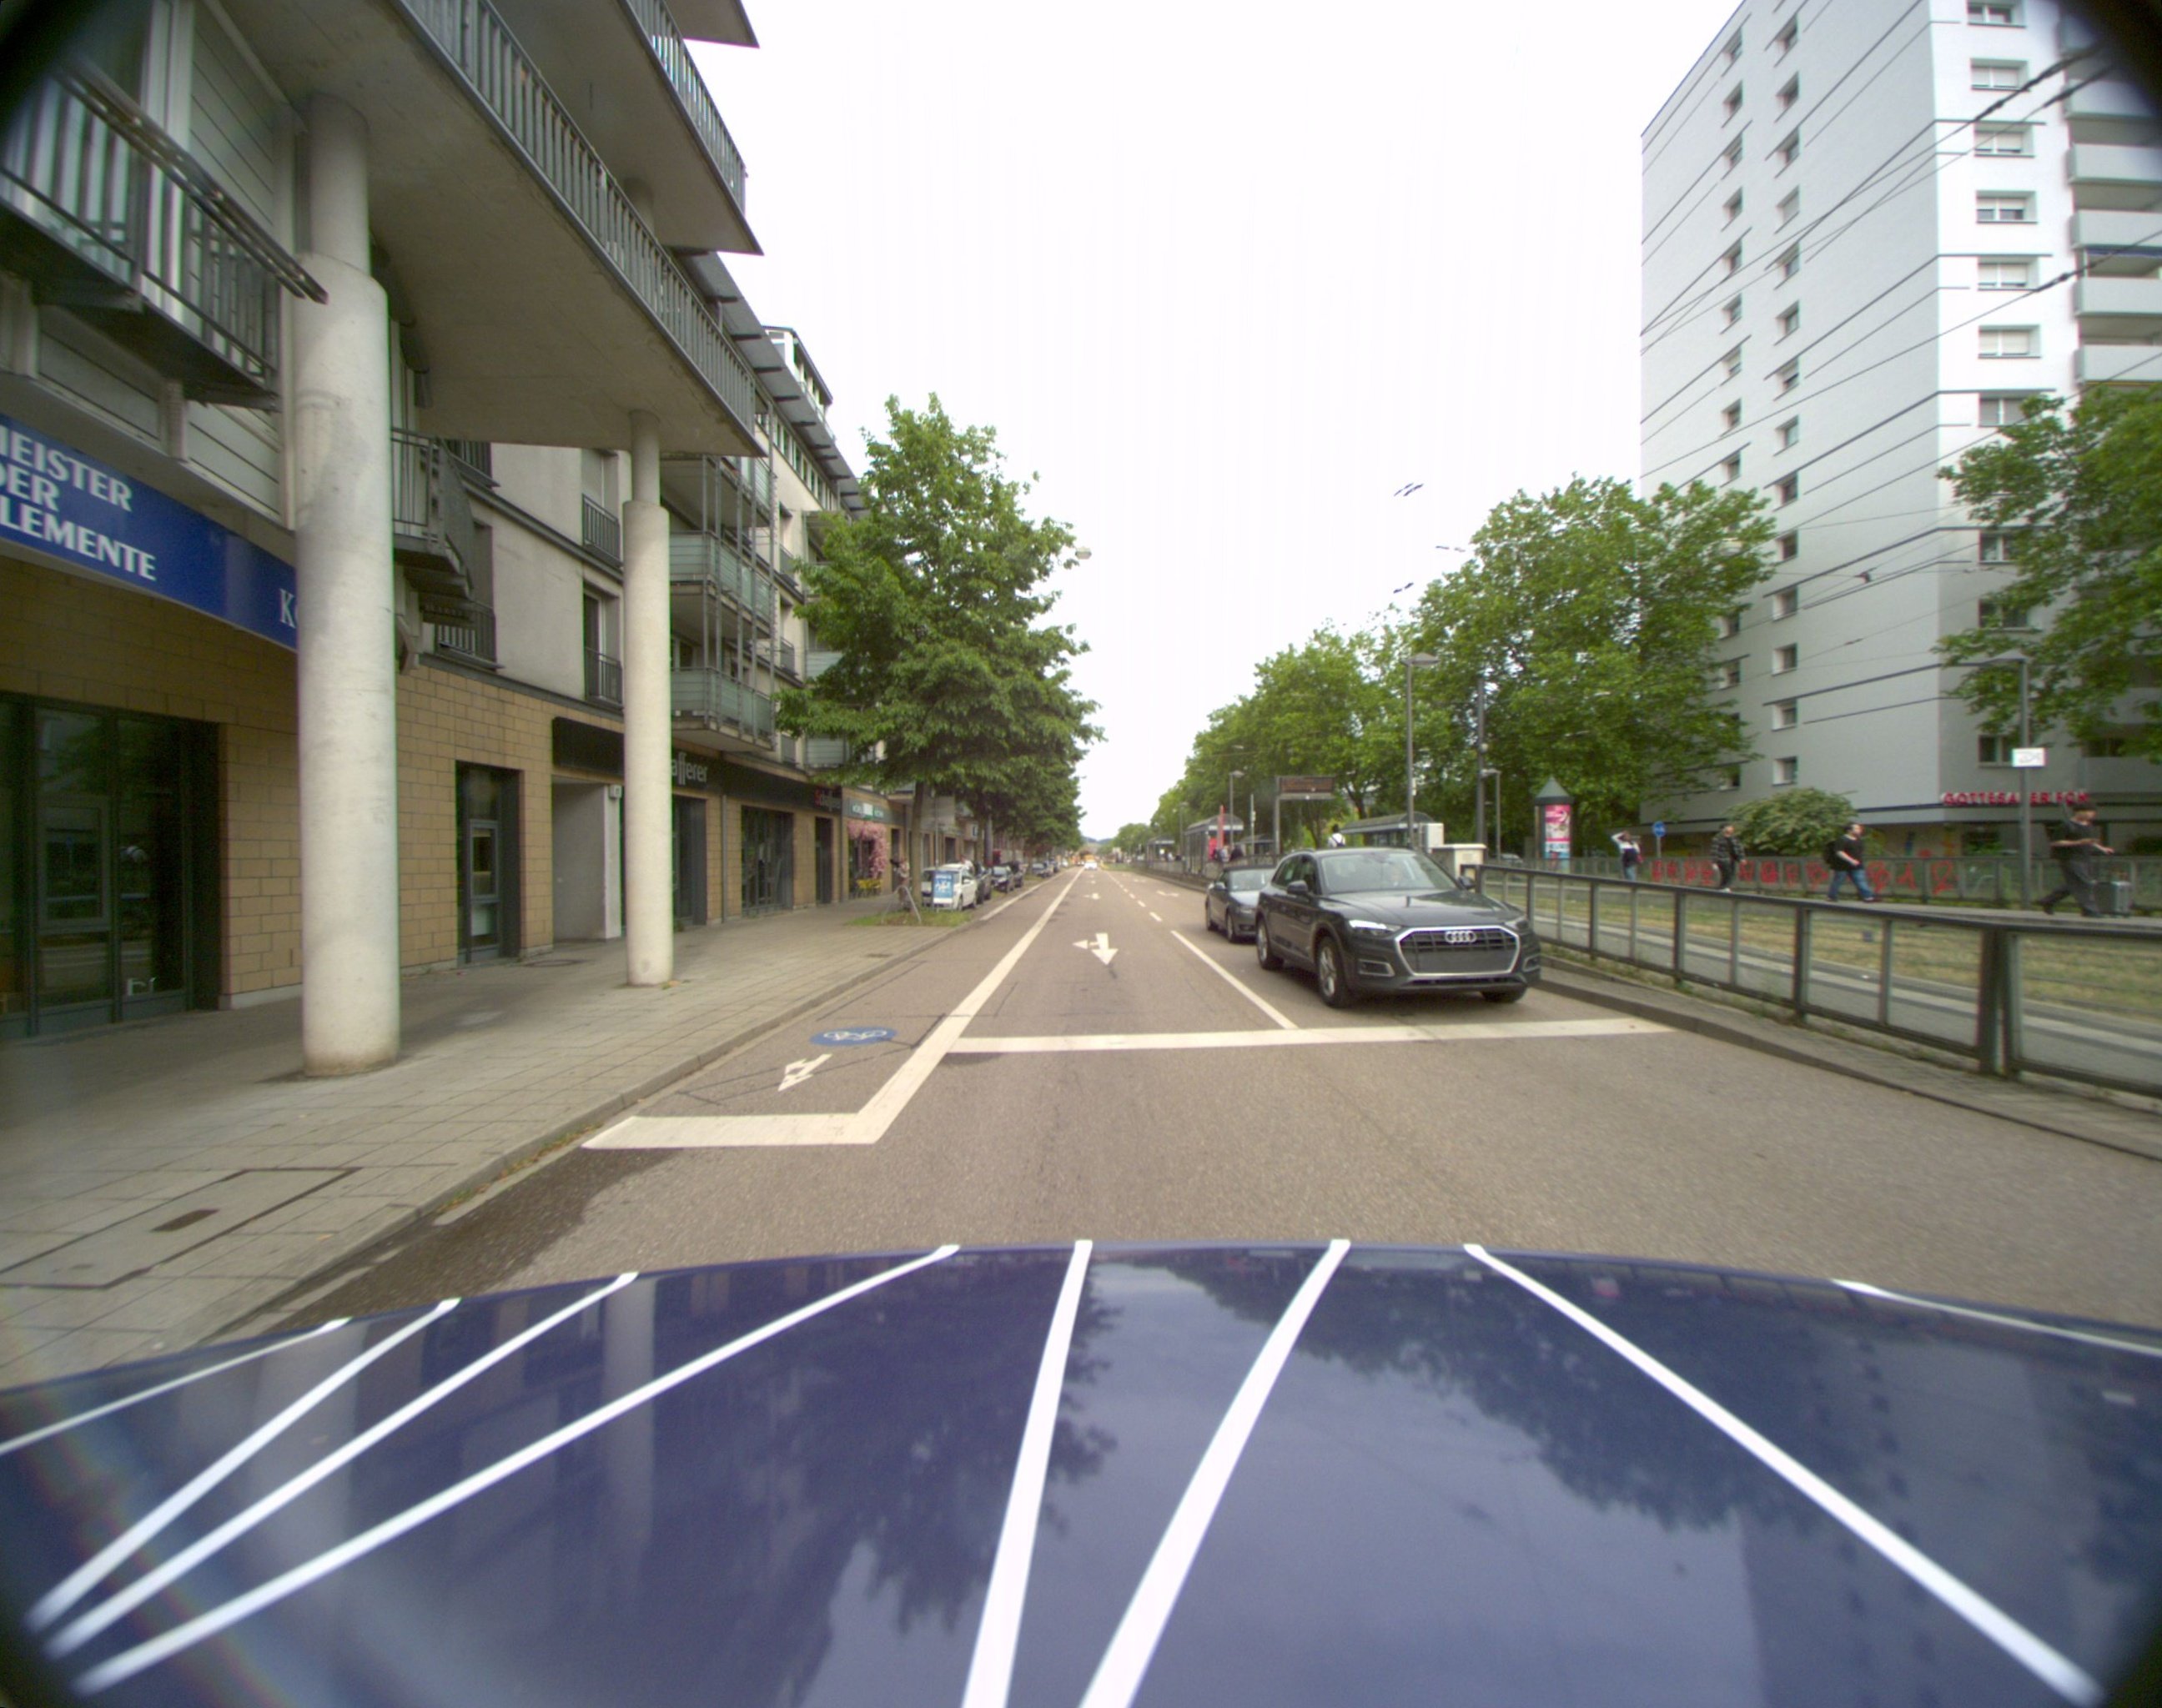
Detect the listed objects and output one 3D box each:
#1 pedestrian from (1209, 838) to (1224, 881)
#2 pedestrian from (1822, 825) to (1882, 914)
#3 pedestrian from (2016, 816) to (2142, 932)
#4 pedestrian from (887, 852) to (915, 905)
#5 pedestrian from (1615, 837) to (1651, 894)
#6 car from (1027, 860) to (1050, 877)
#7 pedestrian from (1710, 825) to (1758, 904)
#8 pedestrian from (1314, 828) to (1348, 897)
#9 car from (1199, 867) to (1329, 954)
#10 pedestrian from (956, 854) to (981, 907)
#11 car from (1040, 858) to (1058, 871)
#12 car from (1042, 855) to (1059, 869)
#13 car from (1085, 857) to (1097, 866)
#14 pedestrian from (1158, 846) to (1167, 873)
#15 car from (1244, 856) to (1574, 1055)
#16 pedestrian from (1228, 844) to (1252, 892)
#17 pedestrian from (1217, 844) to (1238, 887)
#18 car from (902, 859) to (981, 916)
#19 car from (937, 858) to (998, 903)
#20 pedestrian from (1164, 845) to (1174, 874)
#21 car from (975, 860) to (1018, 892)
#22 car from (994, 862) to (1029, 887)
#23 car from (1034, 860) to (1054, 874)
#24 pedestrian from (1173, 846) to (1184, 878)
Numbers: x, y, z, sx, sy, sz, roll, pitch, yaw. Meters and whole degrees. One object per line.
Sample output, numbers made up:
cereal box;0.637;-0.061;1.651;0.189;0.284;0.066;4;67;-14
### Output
pedestrian;6.482;0.266;36.355;0.585;2.038;0.821;-2;0;4
pedestrian;15.601;0.310;15.391;0.622;1.741;0.548;-2;1;2
pedestrian;15.202;0.294;11.603;0.742;1.685;0.879;-2;0;2
pedestrian;-6.309;0.852;26.681;0.745;1.795;0.839;-2;0;0
pedestrian;16.293;0.340;22.420;0.622;1.659;0.565;-2;1;2
car;-3.781;1.287;68.150;1.730;1.375;3.816;1;0;1
pedestrian;15.077;0.237;17.558;0.622;1.779;0.534;-2;1;2
pedestrian;6.455;0.206;19.637;0.662;1.741;0.534;-2;1;2
car;3.440;1.002;14.994;1.637;1.367;4.014;-2;0;1
pedestrian;-4.118;0.960;27.800;0.652;1.922;0.644;-2;1;16
car;-3.591;1.201;84.801;1.730;1.375;3.816;1;0;1
car;-3.605;0.931;90.767;1.730;1.675;3.816;1;0;1
car;1.510;1.150;113.726;1.865;1.339;3.816;1;0;1
pedestrian;6.272;0.405;58.452;0.585;2.038;0.821;-2;0;4
car;3.279;0.875;8.695;1.916;1.637;4.368;-2;0;1
pedestrian;5.995;0.534;28.661;0.661;1.781;0.535;-1;1;41
pedestrian;6.095;0.472;31.643;0.683;1.781;0.821;-2;0;4
car;-4.496;1.034;25.090;1.730;1.652;4.103;2;0;1
car;-4.433;0.989;30.197;1.730;1.652;3.943;1;0;1
pedestrian;6.237;0.402;53.690;0.585;2.038;0.821;-2;0;4
car;-4.303;1.098;39.244;1.684;1.536;3.943;1;0;1
car;-4.282;1.246;47.102;1.730;1.375;3.816;1;0;1
car;-3.613;1.255;74.729;1.730;1.375;3.816;1;0;1
pedestrian;6.234;0.523;48.739;0.585;2.038;0.821;-2;0;4
